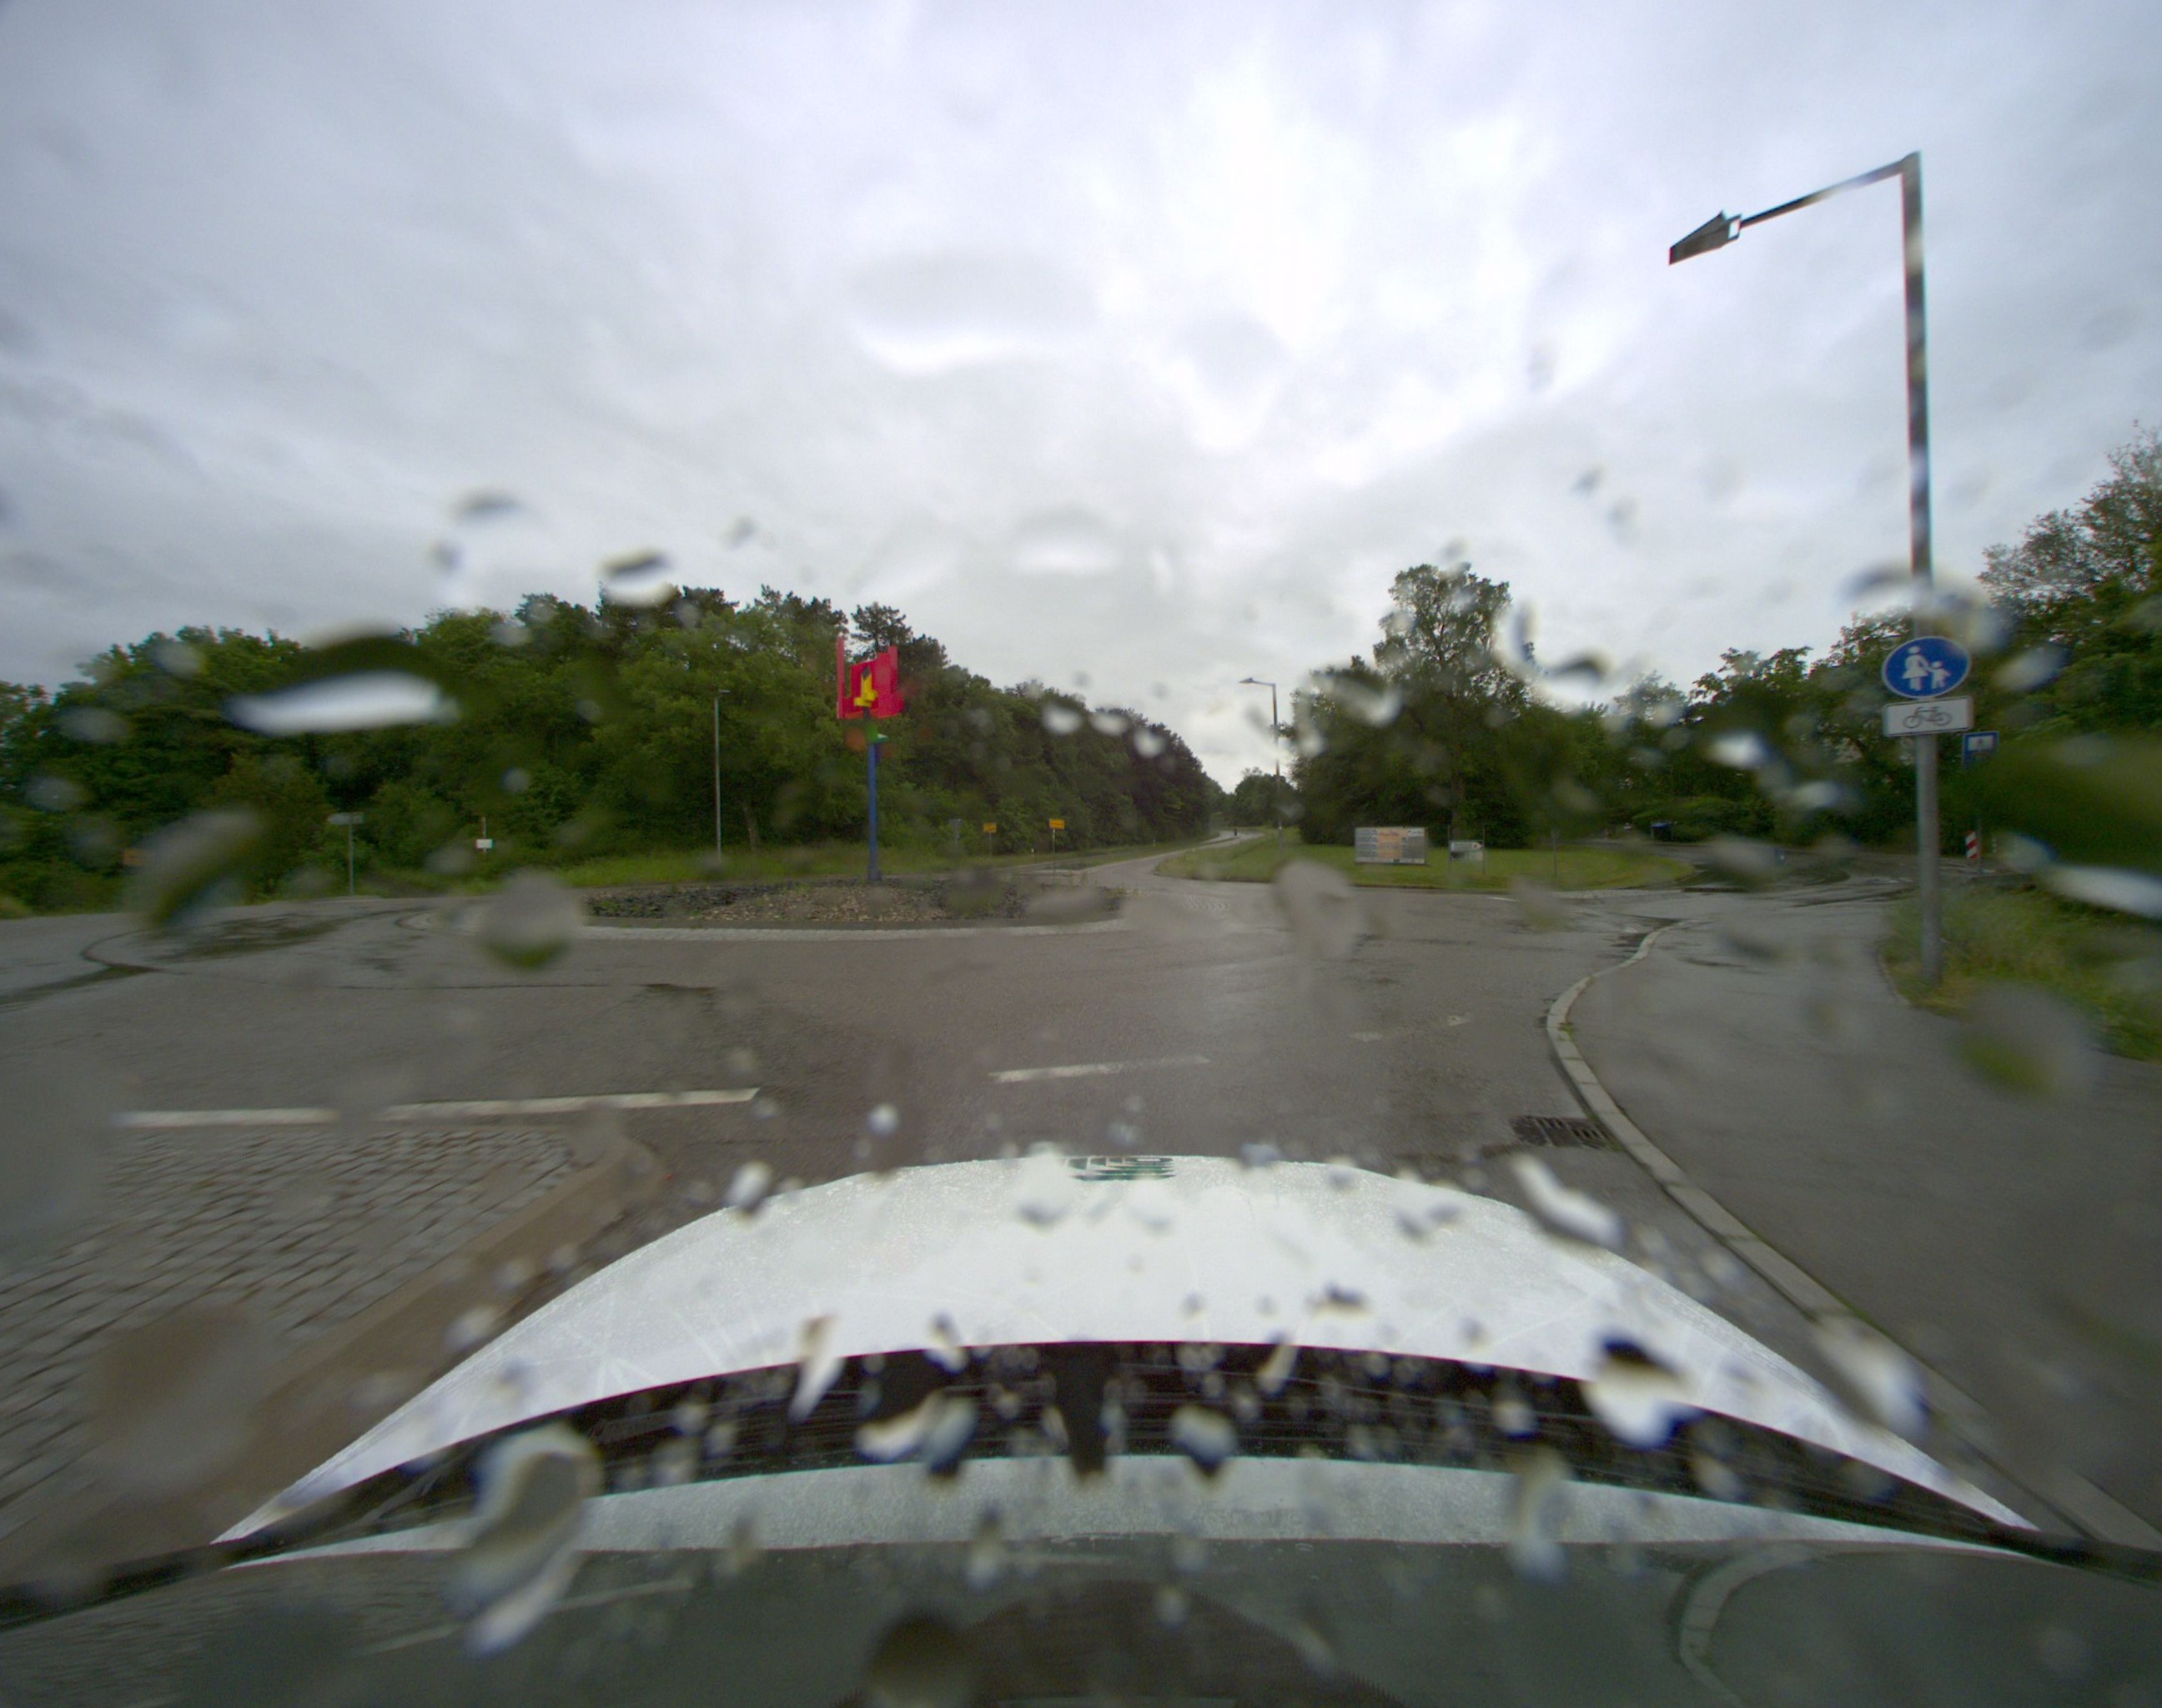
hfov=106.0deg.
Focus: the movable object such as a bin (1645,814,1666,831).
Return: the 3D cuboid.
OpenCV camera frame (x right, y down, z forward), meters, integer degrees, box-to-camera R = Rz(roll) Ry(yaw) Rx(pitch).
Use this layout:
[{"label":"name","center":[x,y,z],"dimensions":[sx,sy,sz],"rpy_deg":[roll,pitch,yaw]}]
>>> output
[{"label":"movable object such as a bin","center":[48.257,-2.639,68.444],"dimensions":[1.183,1.437,1.436],"rpy_deg":[-1,1,22]}]
